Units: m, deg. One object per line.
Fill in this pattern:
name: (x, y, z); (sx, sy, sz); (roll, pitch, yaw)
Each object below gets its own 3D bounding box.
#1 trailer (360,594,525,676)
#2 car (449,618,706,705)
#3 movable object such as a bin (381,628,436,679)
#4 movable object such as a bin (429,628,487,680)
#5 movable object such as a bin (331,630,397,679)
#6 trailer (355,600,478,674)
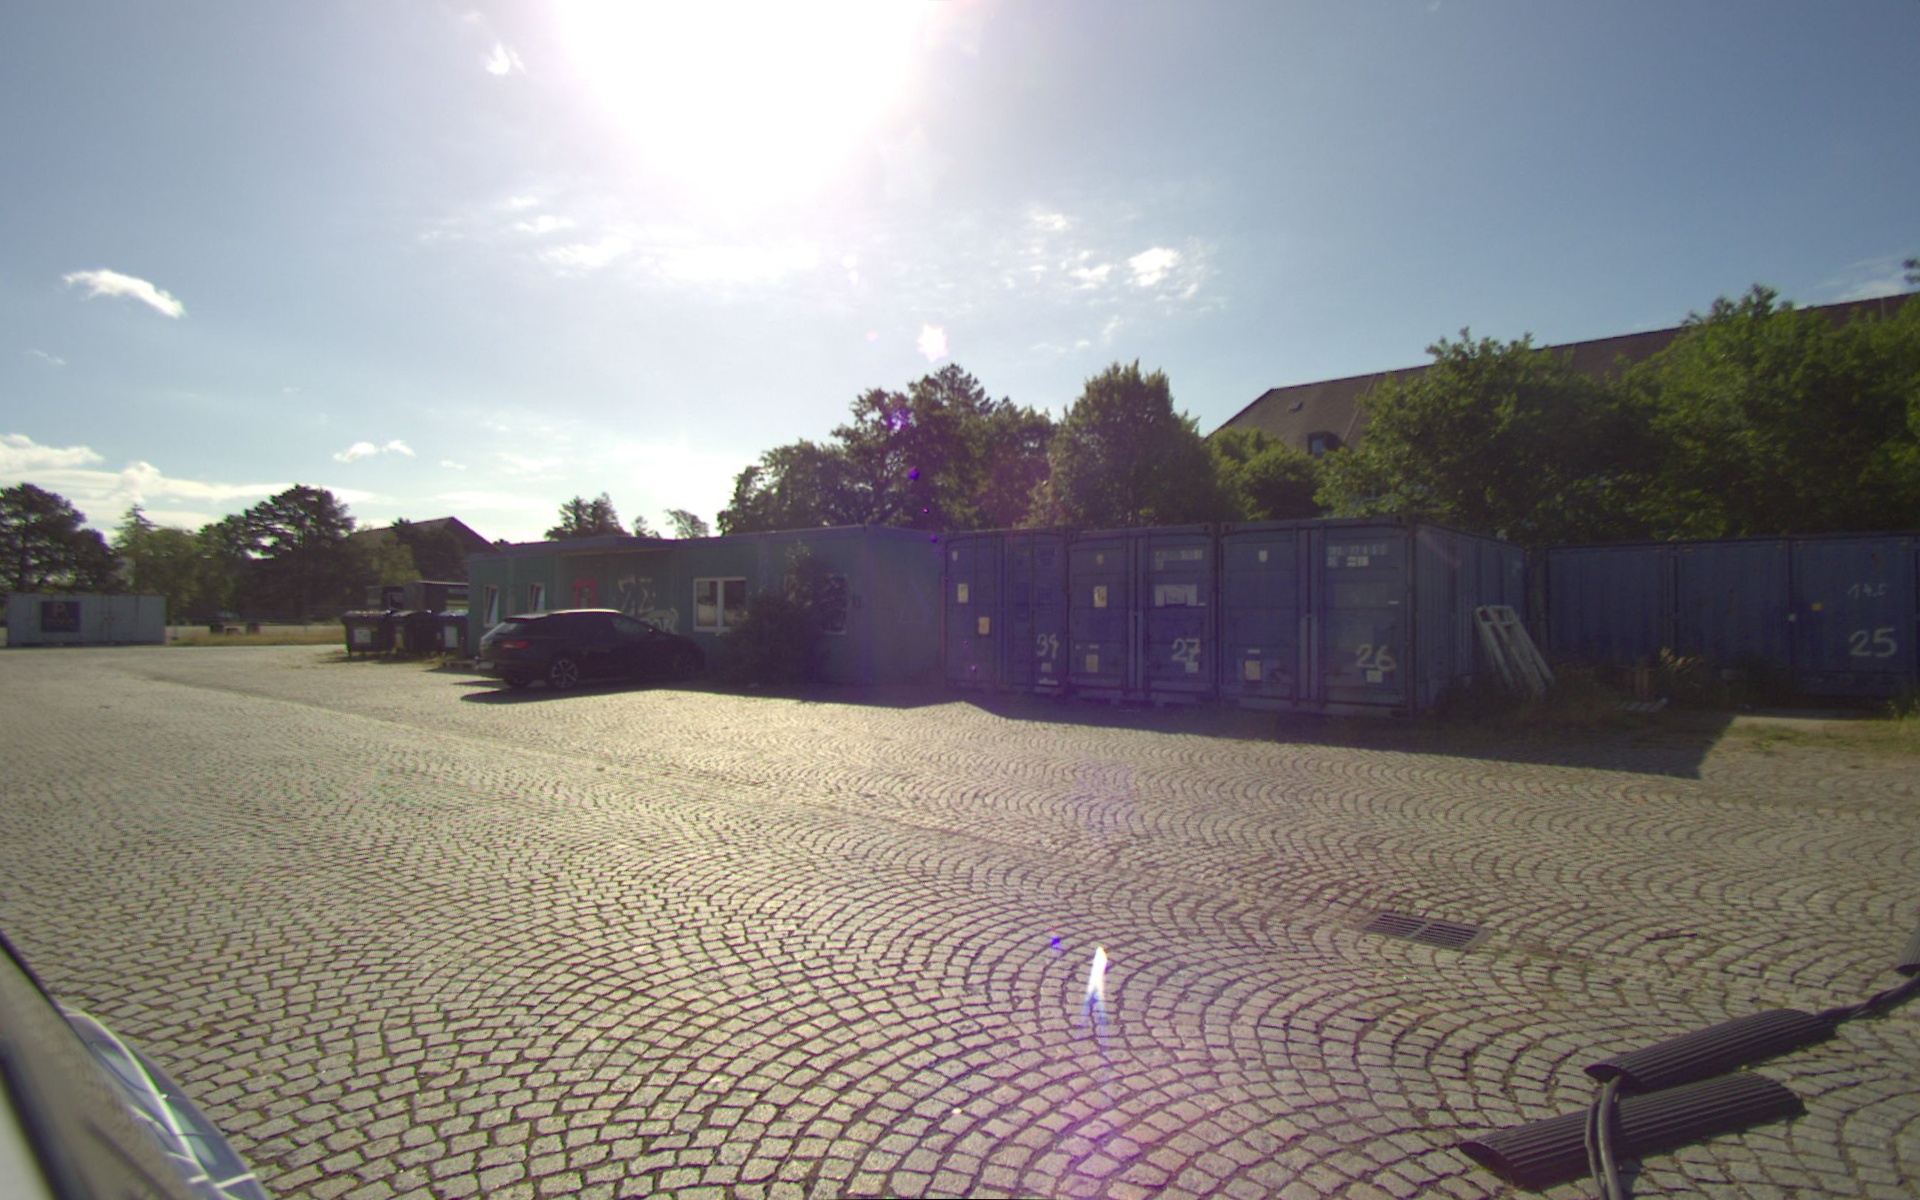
trailer: (-17.441, 1.147, 34.329); (1.948, 2.587, 4.593); (-1, -1, 37)
car: (-7.176, 1.081, 19.348); (1.929, 1.460, 4.210); (-1, -1, 39)
movable object such as a bin: (-16.537, 1.582, 30.348); (1.439, 1.469, 1.007); (-1, -2, 41)
movable object such as a bin: (-14.793, 1.582, 29.808); (1.435, 1.469, 0.876); (-1, -1, 30)
movable object such as a bin: (-18.444, 1.665, 31.363); (1.416, 1.469, 1.157); (0, -1, -6)
trailer: (-19.267, 1.291, 35.958); (2.044, 2.488, 3.349); (-1, -2, 42)
